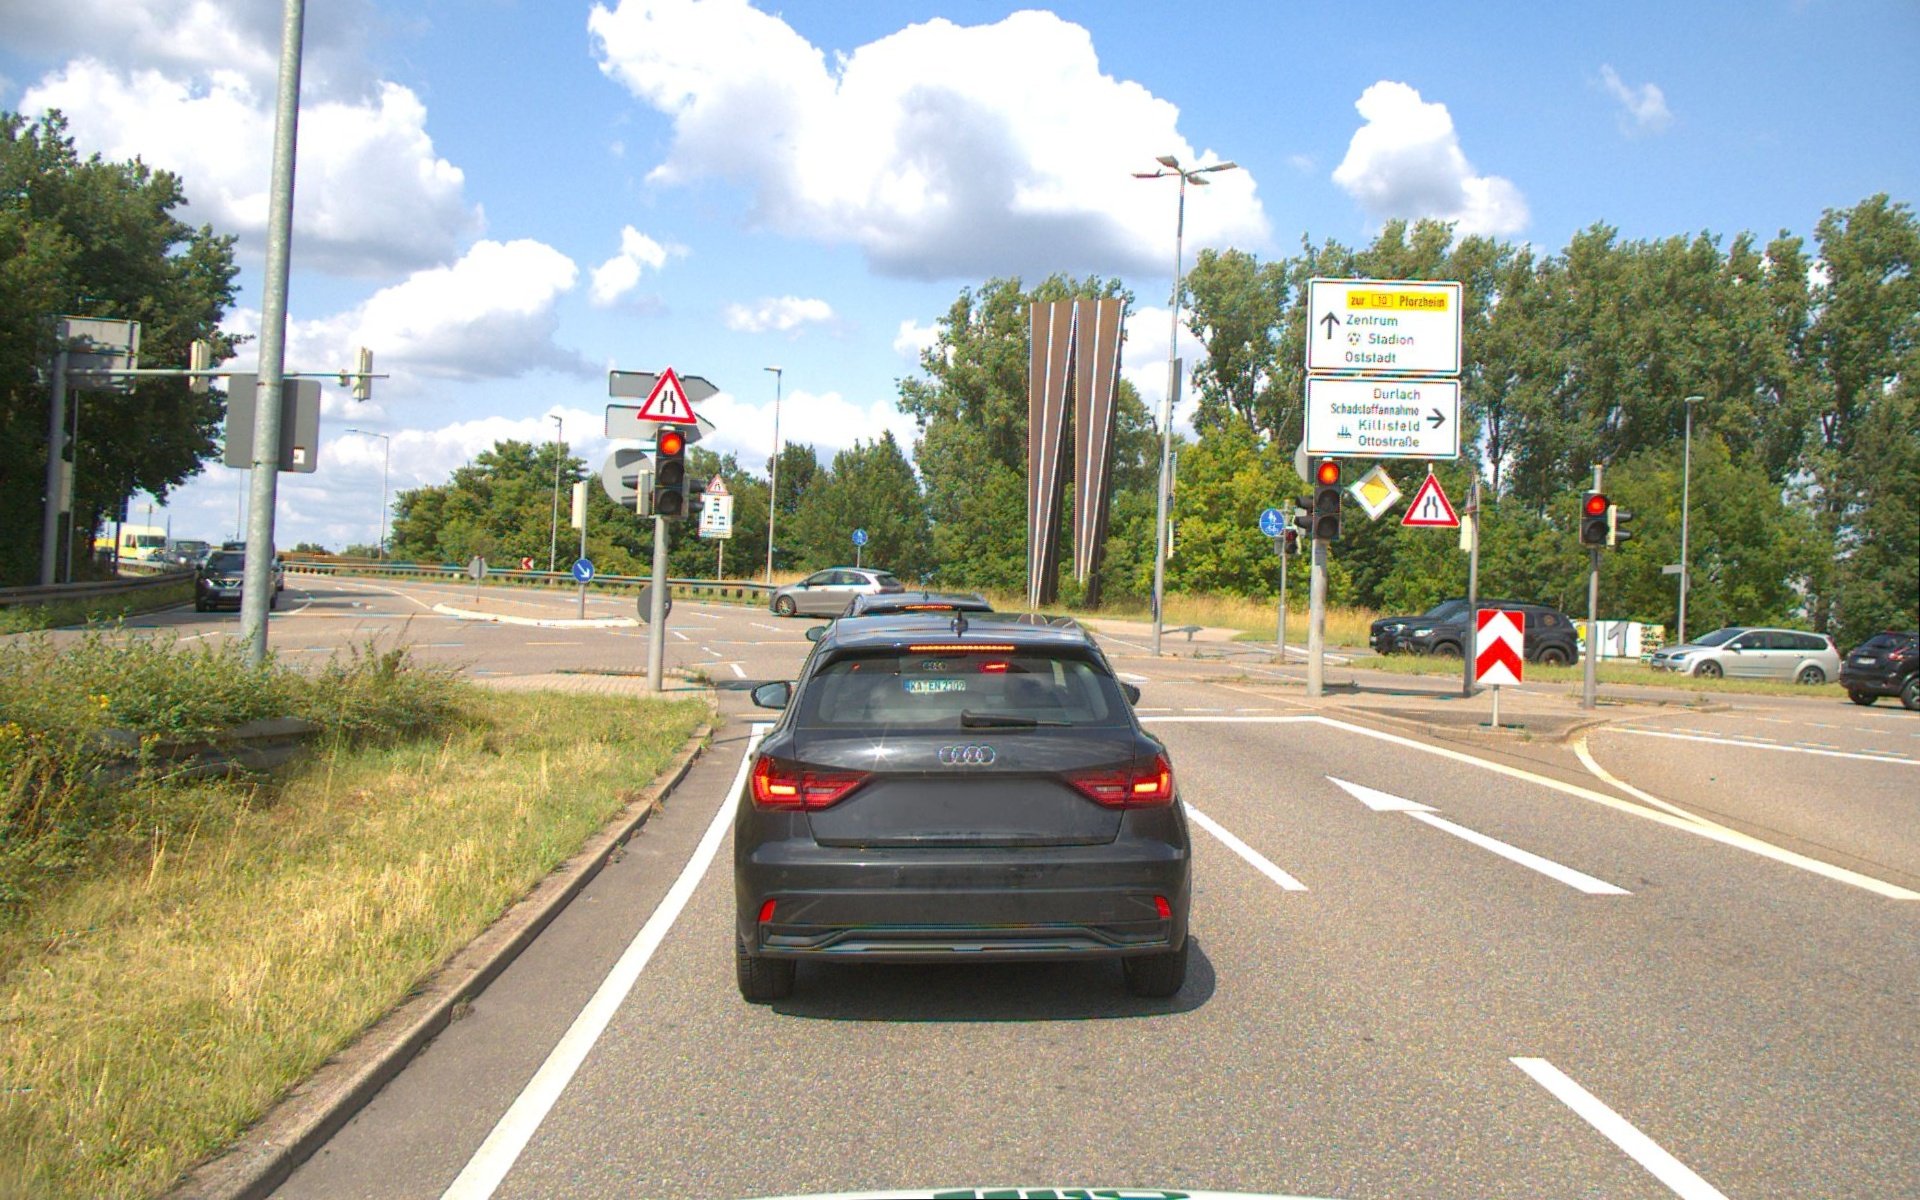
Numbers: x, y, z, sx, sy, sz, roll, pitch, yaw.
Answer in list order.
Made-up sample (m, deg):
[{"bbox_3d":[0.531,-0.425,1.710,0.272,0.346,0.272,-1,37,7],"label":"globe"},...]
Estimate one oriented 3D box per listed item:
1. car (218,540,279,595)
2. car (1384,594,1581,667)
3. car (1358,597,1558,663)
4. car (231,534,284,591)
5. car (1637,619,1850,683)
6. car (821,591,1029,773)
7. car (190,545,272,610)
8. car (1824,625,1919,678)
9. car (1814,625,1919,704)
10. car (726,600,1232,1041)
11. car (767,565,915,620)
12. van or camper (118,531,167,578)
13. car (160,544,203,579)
[{"bbox_3d":[-25.377,-1.141,59.096,1.817,1.833,4.299,2,0,-22],"label":"car"},{"bbox_3d":[12.603,0.722,40.064,4.182,1.572,1.736,2,0,-2],"label":"car"},{"bbox_3d":[13.168,0.780,43.925,4.750,1.572,1.736,2,0,-2],"label":"car"},{"bbox_3d":[-28.222,-1.489,66.397,1.819,2.137,4.293,2,0,-24],"label":"car"},{"bbox_3d":[19.065,1.229,40.342,4.384,1.343,1.735,2,0,-4],"label":"car"},{"bbox_3d":[-0.438,0.649,15.323,1.692,1.448,3.841,0,1,-5],"label":"car"},{"bbox_3d":[-19.887,-0.567,45.253,1.813,1.646,3.974,2,-1,-21],"label":"car"},{"bbox_3d":[25.969,1.426,44.638,4.404,1.304,1.736,2,0,-4],"label":"car"},{"bbox_3d":[19.538,1.328,33.164,3.884,1.443,1.949,2,0,-9],"label":"car"},{"bbox_3d":[0.035,0.734,7.529,1.691,1.429,3.999,0,1,-1],"label":"car"},{"bbox_3d":[-3.644,-0.233,50.581,4.027,1.522,1.998,2,0,27],"label":"car"},{"bbox_3d":[-50.339,-2.781,101.776,1.974,2.730,6.788,2,0,-32],"label":"van or camper"},{"bbox_3d":[-42.142,-2.082,89.495,1.823,1.735,4.286,2,0,-29],"label":"car"}]
